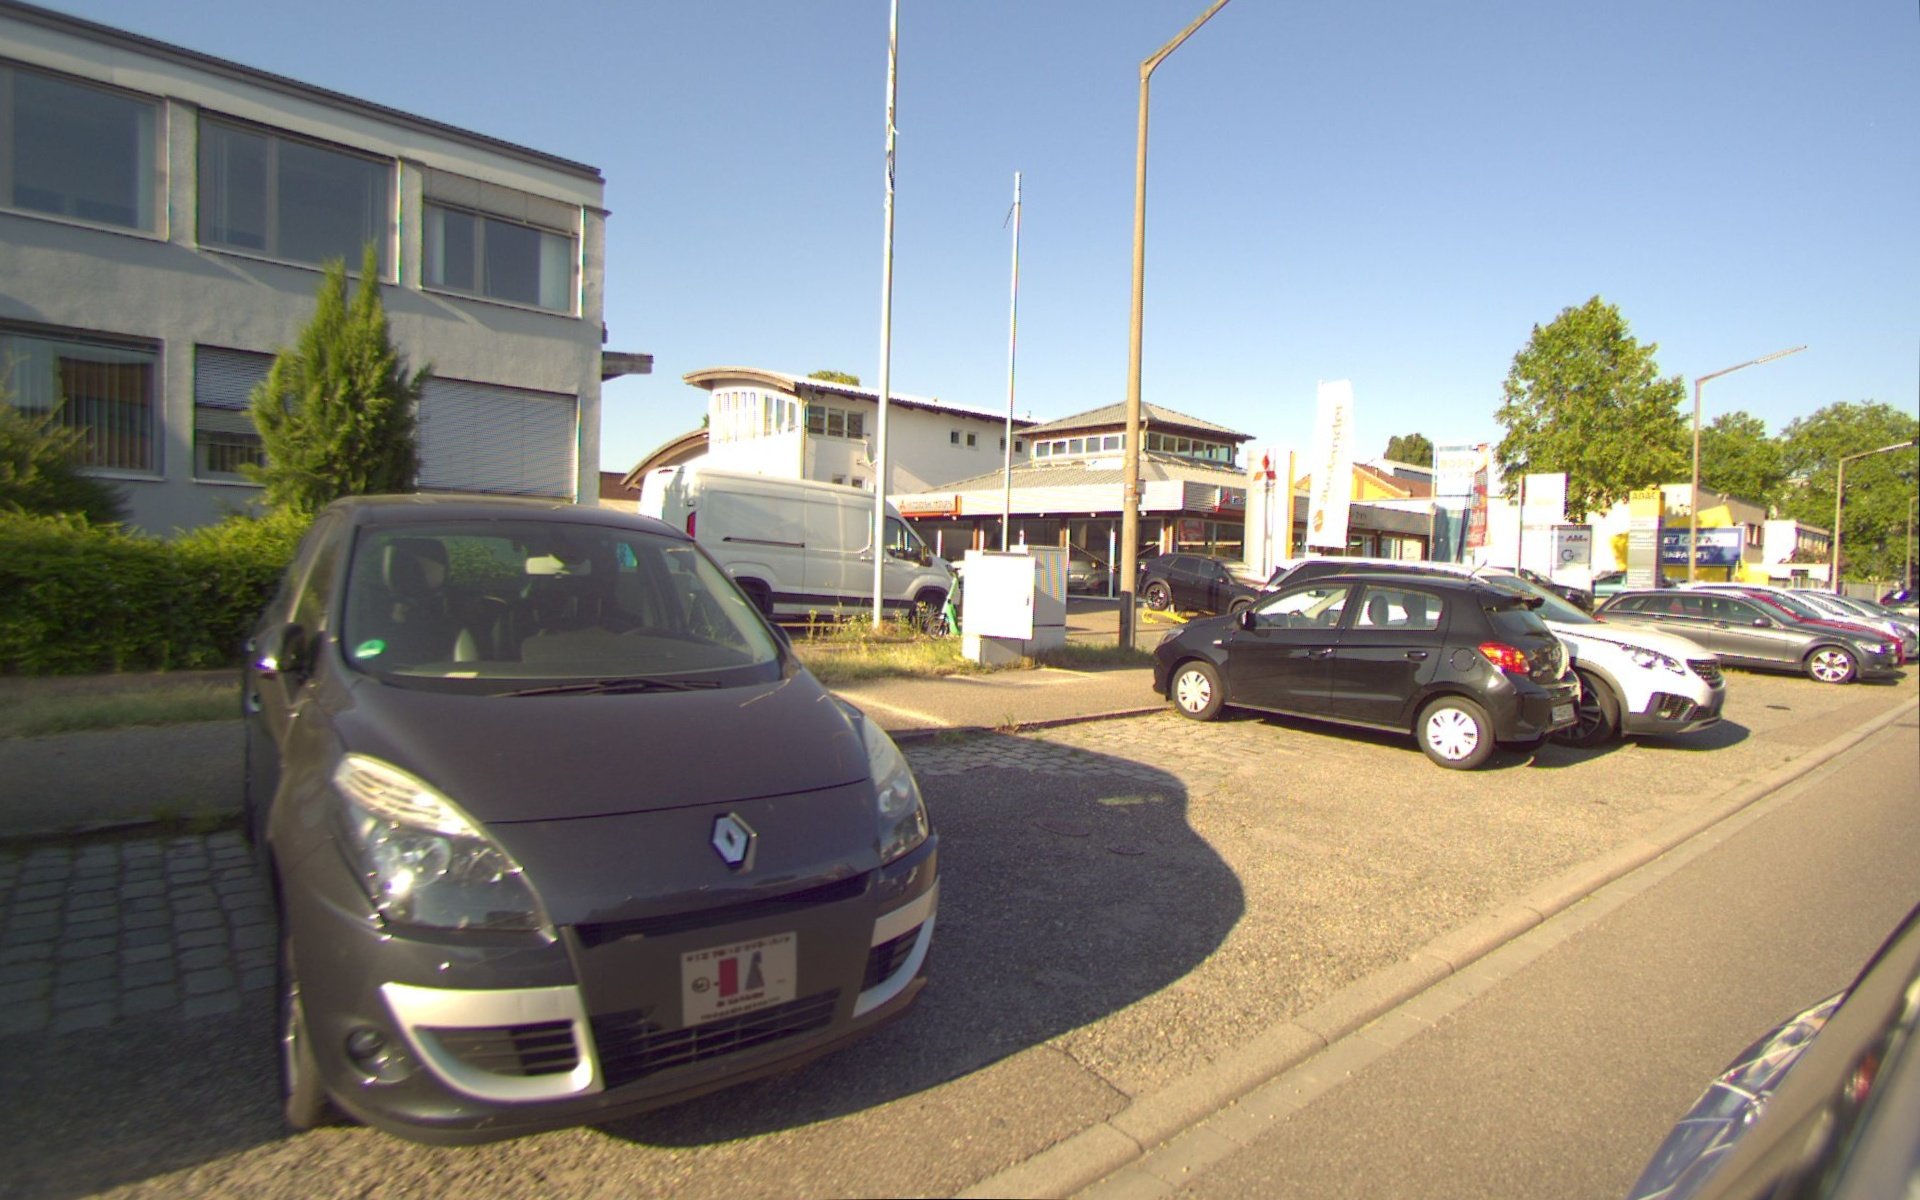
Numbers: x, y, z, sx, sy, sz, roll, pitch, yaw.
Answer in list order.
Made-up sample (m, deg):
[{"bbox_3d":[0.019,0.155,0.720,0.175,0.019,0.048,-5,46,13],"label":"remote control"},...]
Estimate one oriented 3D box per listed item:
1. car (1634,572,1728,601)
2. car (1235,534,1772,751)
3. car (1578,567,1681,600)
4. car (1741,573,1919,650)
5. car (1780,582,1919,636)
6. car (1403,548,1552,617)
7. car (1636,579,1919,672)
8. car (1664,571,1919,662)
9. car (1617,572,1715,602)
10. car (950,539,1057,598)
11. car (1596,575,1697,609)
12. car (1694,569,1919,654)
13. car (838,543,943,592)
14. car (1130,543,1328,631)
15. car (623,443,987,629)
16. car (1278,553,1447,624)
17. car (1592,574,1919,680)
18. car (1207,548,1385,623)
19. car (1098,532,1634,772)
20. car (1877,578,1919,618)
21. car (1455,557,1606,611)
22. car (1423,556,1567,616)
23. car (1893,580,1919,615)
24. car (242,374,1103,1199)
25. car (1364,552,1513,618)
[{"bbox_3d":[40.070,-0.767,56.290,1.968,1.515,3.989,-1,2,-45],"label":"car"},{"bbox_3d":[5.581,0.234,10.866,2.165,1.616,4.563,-1,6,-43],"label":"car"},{"bbox_3d":[33.230,-0.838,50.302,1.968,1.538,3.989,-1,2,-45],"label":"car"},{"bbox_3d":[21.599,0.240,24.511,1.837,1.607,3.992,-1,4,-44],"label":"car"},{"bbox_3d":[26.594,0.253,29.382,1.751,1.311,4.000,0,4,-38],"label":"car"},{"bbox_3d":[17.267,-0.618,33.889,2.163,1.920,3.810,1,5,-41],"label":"car"},{"bbox_3d":[15.954,0.409,19.866,4.242,1.625,1.719,1,2,44],"label":"car"},{"bbox_3d":[17.730,0.272,21.647,1.853,1.761,4.112,-1,2,-44],"label":"car"},{"bbox_3d":[37.512,-0.725,53.804,1.922,1.538,3.989,-1,2,-45],"label":"car"},{"bbox_3d":[1.356,-0.899,29.615,1.977,1.601,3.849,1,1,22],"label":"car"},{"bbox_3d":[35.015,-0.436,51.675,1.968,1.615,3.989,-1,2,-45],"label":"car"},{"bbox_3d":[19.427,0.196,23.021,2.025,1.637,4.113,-1,4,-44],"label":"car"},{"bbox_3d":[-2.192,-1.048,33.104,1.977,1.486,3.849,1,1,22],"label":"car"},{"bbox_3d":[6.350,-0.390,24.240,1.965,1.792,4.154,-1,5,-40],"label":"car"},{"bbox_3d":[-2.427,-0.973,17.262,6.031,2.658,1.997,-1,1,-41],"label":"car"},{"bbox_3d":[11.442,-0.377,28.947,1.965,1.717,3.997,-1,5,-40],"label":"car"},{"bbox_3d":[14.435,0.376,18.482,2.098,1.453,4.447,0,4,-41],"label":"car"},{"bbox_3d":[8.846,-0.438,26.861,1.965,1.679,3.997,-1,5,-40],"label":"car"},{"bbox_3d":[3.571,0.261,9.562,1.888,1.642,4.258,-1,5,-41],"label":"car"},{"bbox_3d":[42.501,0.042,43.263,1.965,1.632,4.613,-1,6,-41],"label":"car"},{"bbox_3d":[21.426,-0.628,38.137,2.164,1.922,4.503,-1,2,-41],"label":"car"},{"bbox_3d":[18.882,-0.531,35.801,2.163,1.922,3.941,3,0,-41],"label":"car"},{"bbox_3d":[46.672,0.038,46.970,1.964,1.598,4.616,-1,6,-38],"label":"car"},{"bbox_3d":[-1.533,0.279,3.988,1.961,1.632,4.004,0,4,-33],"label":"car"},{"bbox_3d":[15.216,-0.539,32.332,1.756,1.921,3.910,-3,4,-41],"label":"car"}]
